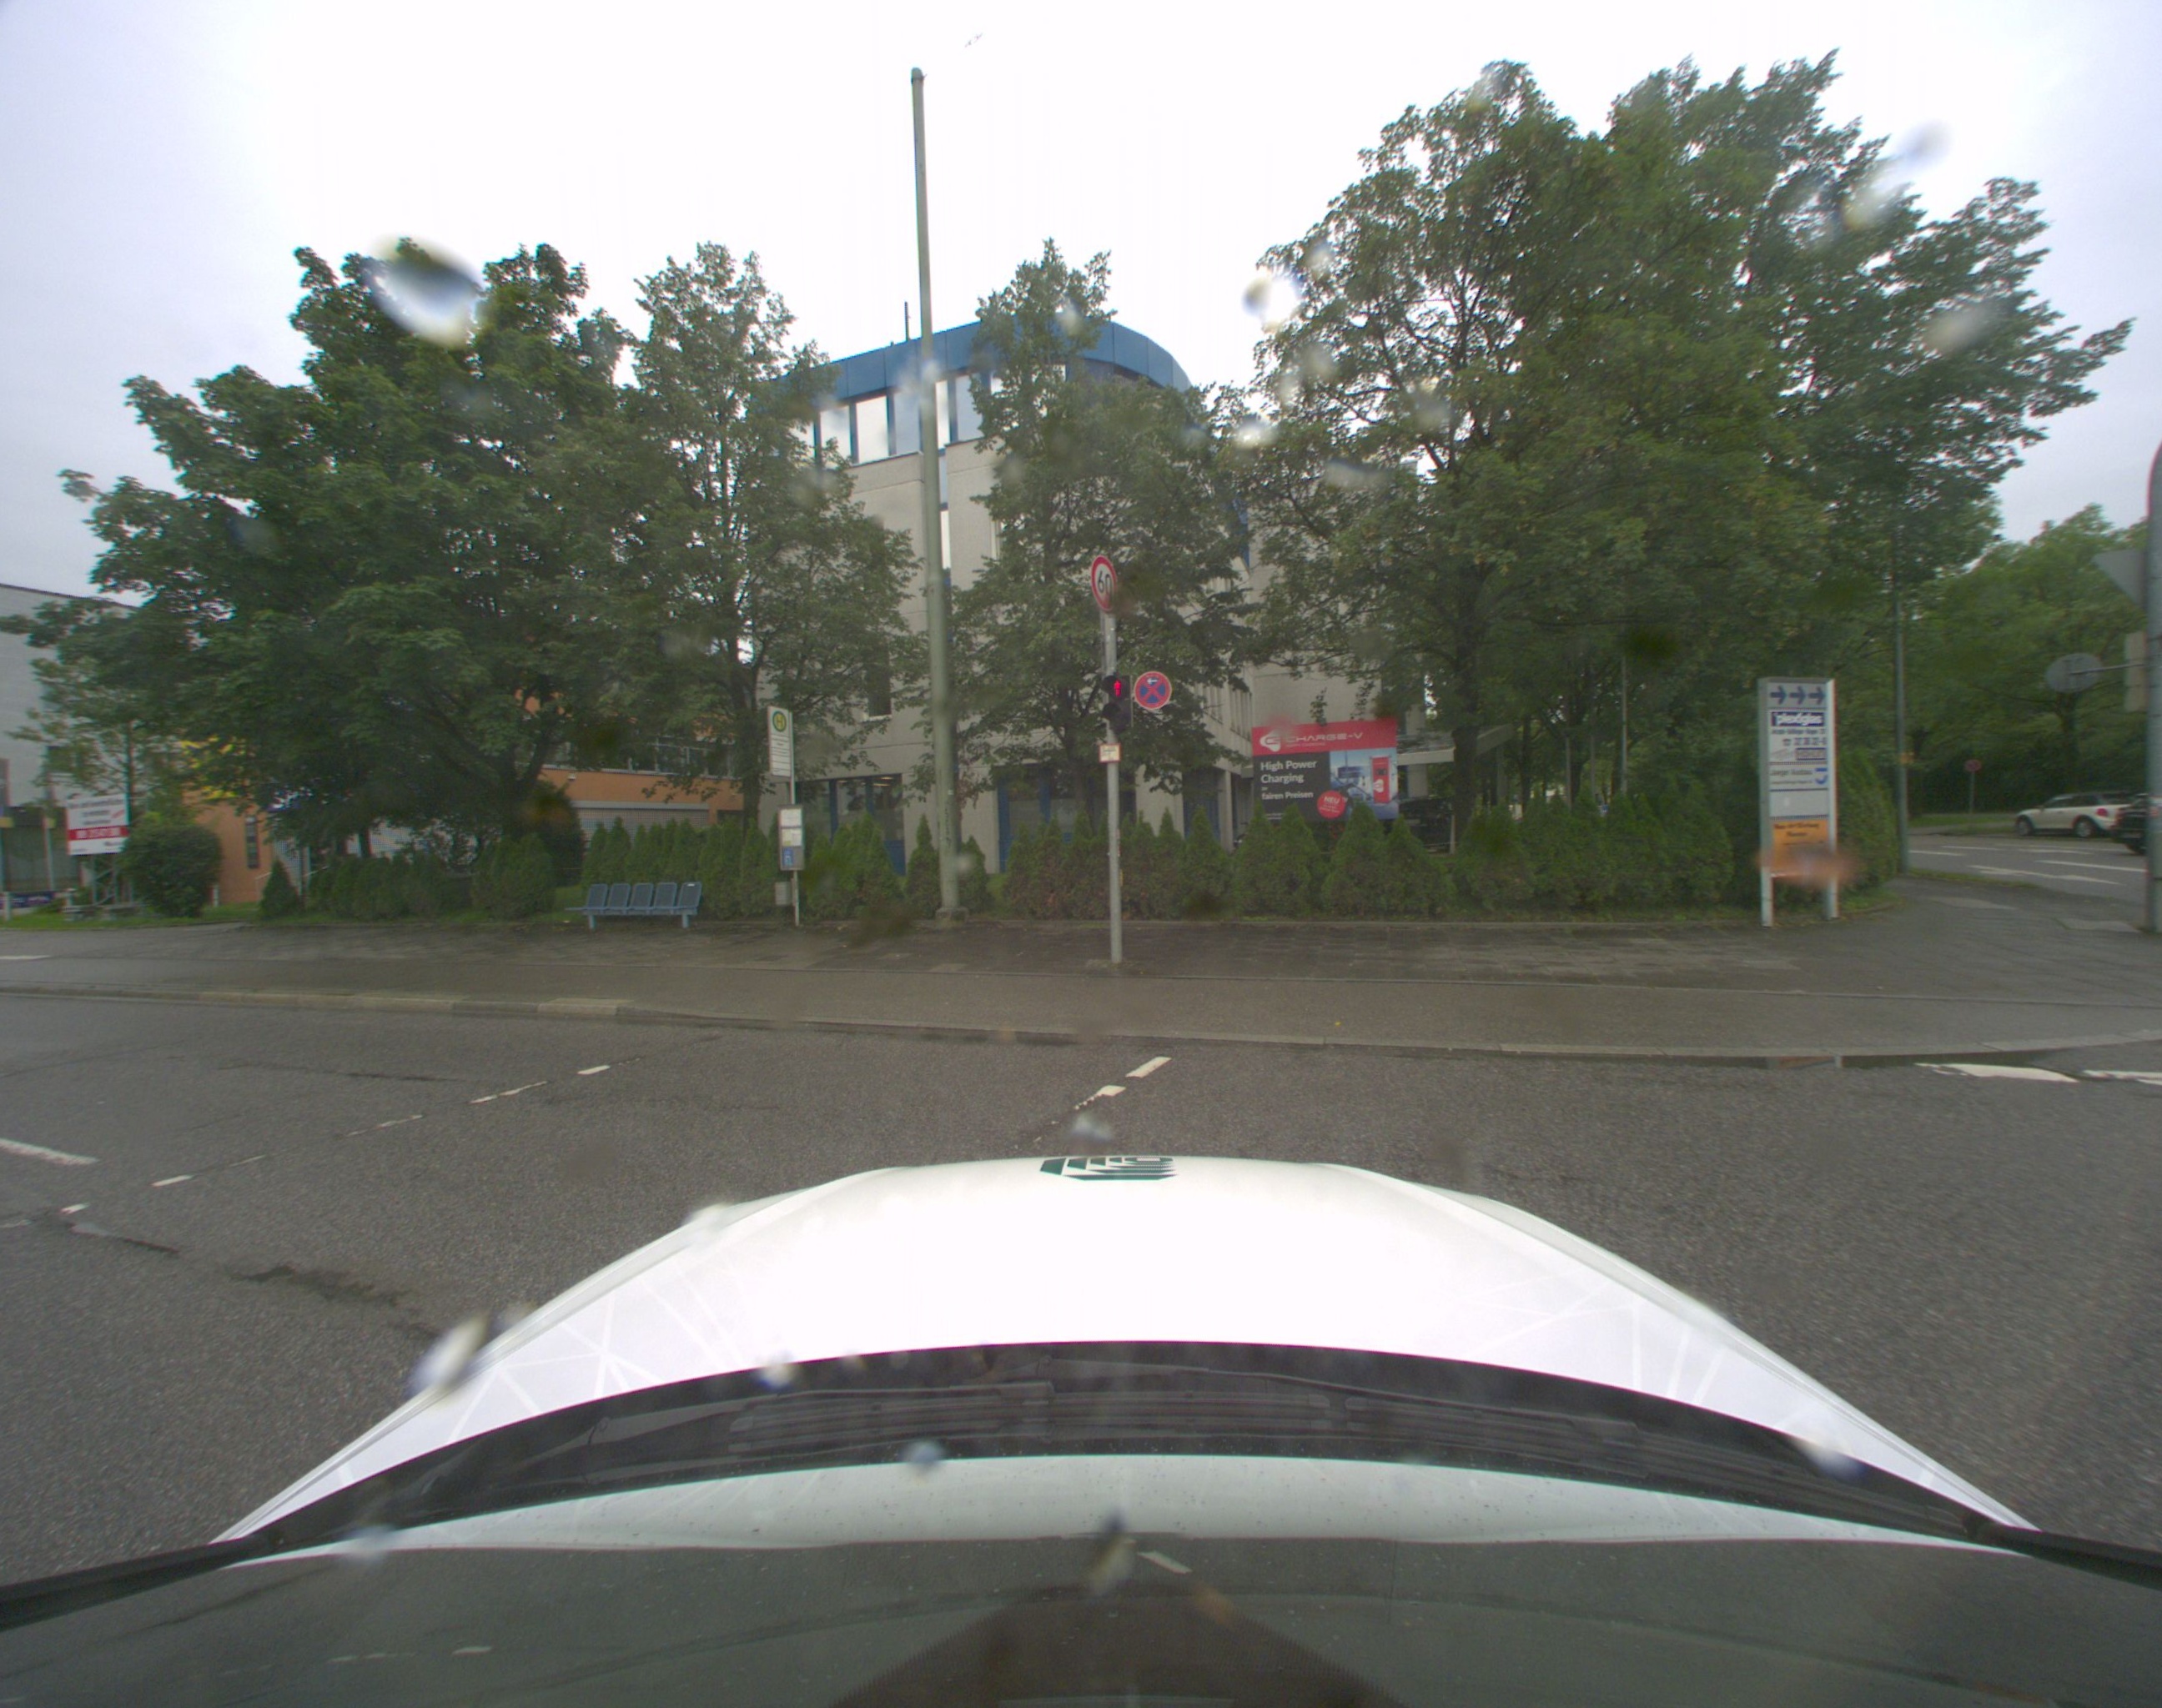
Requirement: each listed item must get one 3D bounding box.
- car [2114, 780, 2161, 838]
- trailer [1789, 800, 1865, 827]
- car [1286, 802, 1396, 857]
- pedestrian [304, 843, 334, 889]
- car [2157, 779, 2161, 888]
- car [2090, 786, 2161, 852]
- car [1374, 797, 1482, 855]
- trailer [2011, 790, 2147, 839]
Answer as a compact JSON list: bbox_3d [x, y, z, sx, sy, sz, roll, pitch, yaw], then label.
[{"bbox_3d":[30.174,-1.259,21.469,1.741,1.574,4.188,-4,0,22],"label":"car"},{"bbox_3d":[38.305,-2.120,41.902,1.540,1.262,3.439,-2,3,17],"label":"trailer"},{"bbox_3d":[7.944,-0.781,24.636,1.845,1.418,4.204,-1,3,37],"label":"car"},{"bbox_3d":[-29.055,0.438,31.072,0.663,1.711,0.655,-5,3,-38],"label":"pedestrian"},{"bbox_3d":[16.370,-0.239,10.610,1.975,1.722,4.821,-1,2,42],"label":"car"},{"bbox_3d":[25.192,-0.826,18.003,3.239,1.443,1.676,-1,2,29],"label":"car"},{"bbox_3d":[9.910,-0.832,23.094,1.845,1.418,4.204,-1,3,37],"label":"car"},{"bbox_3d":[32.357,-1.318,26.518,1.434,1.413,3.362,-2,3,24],"label":"trailer"}]
